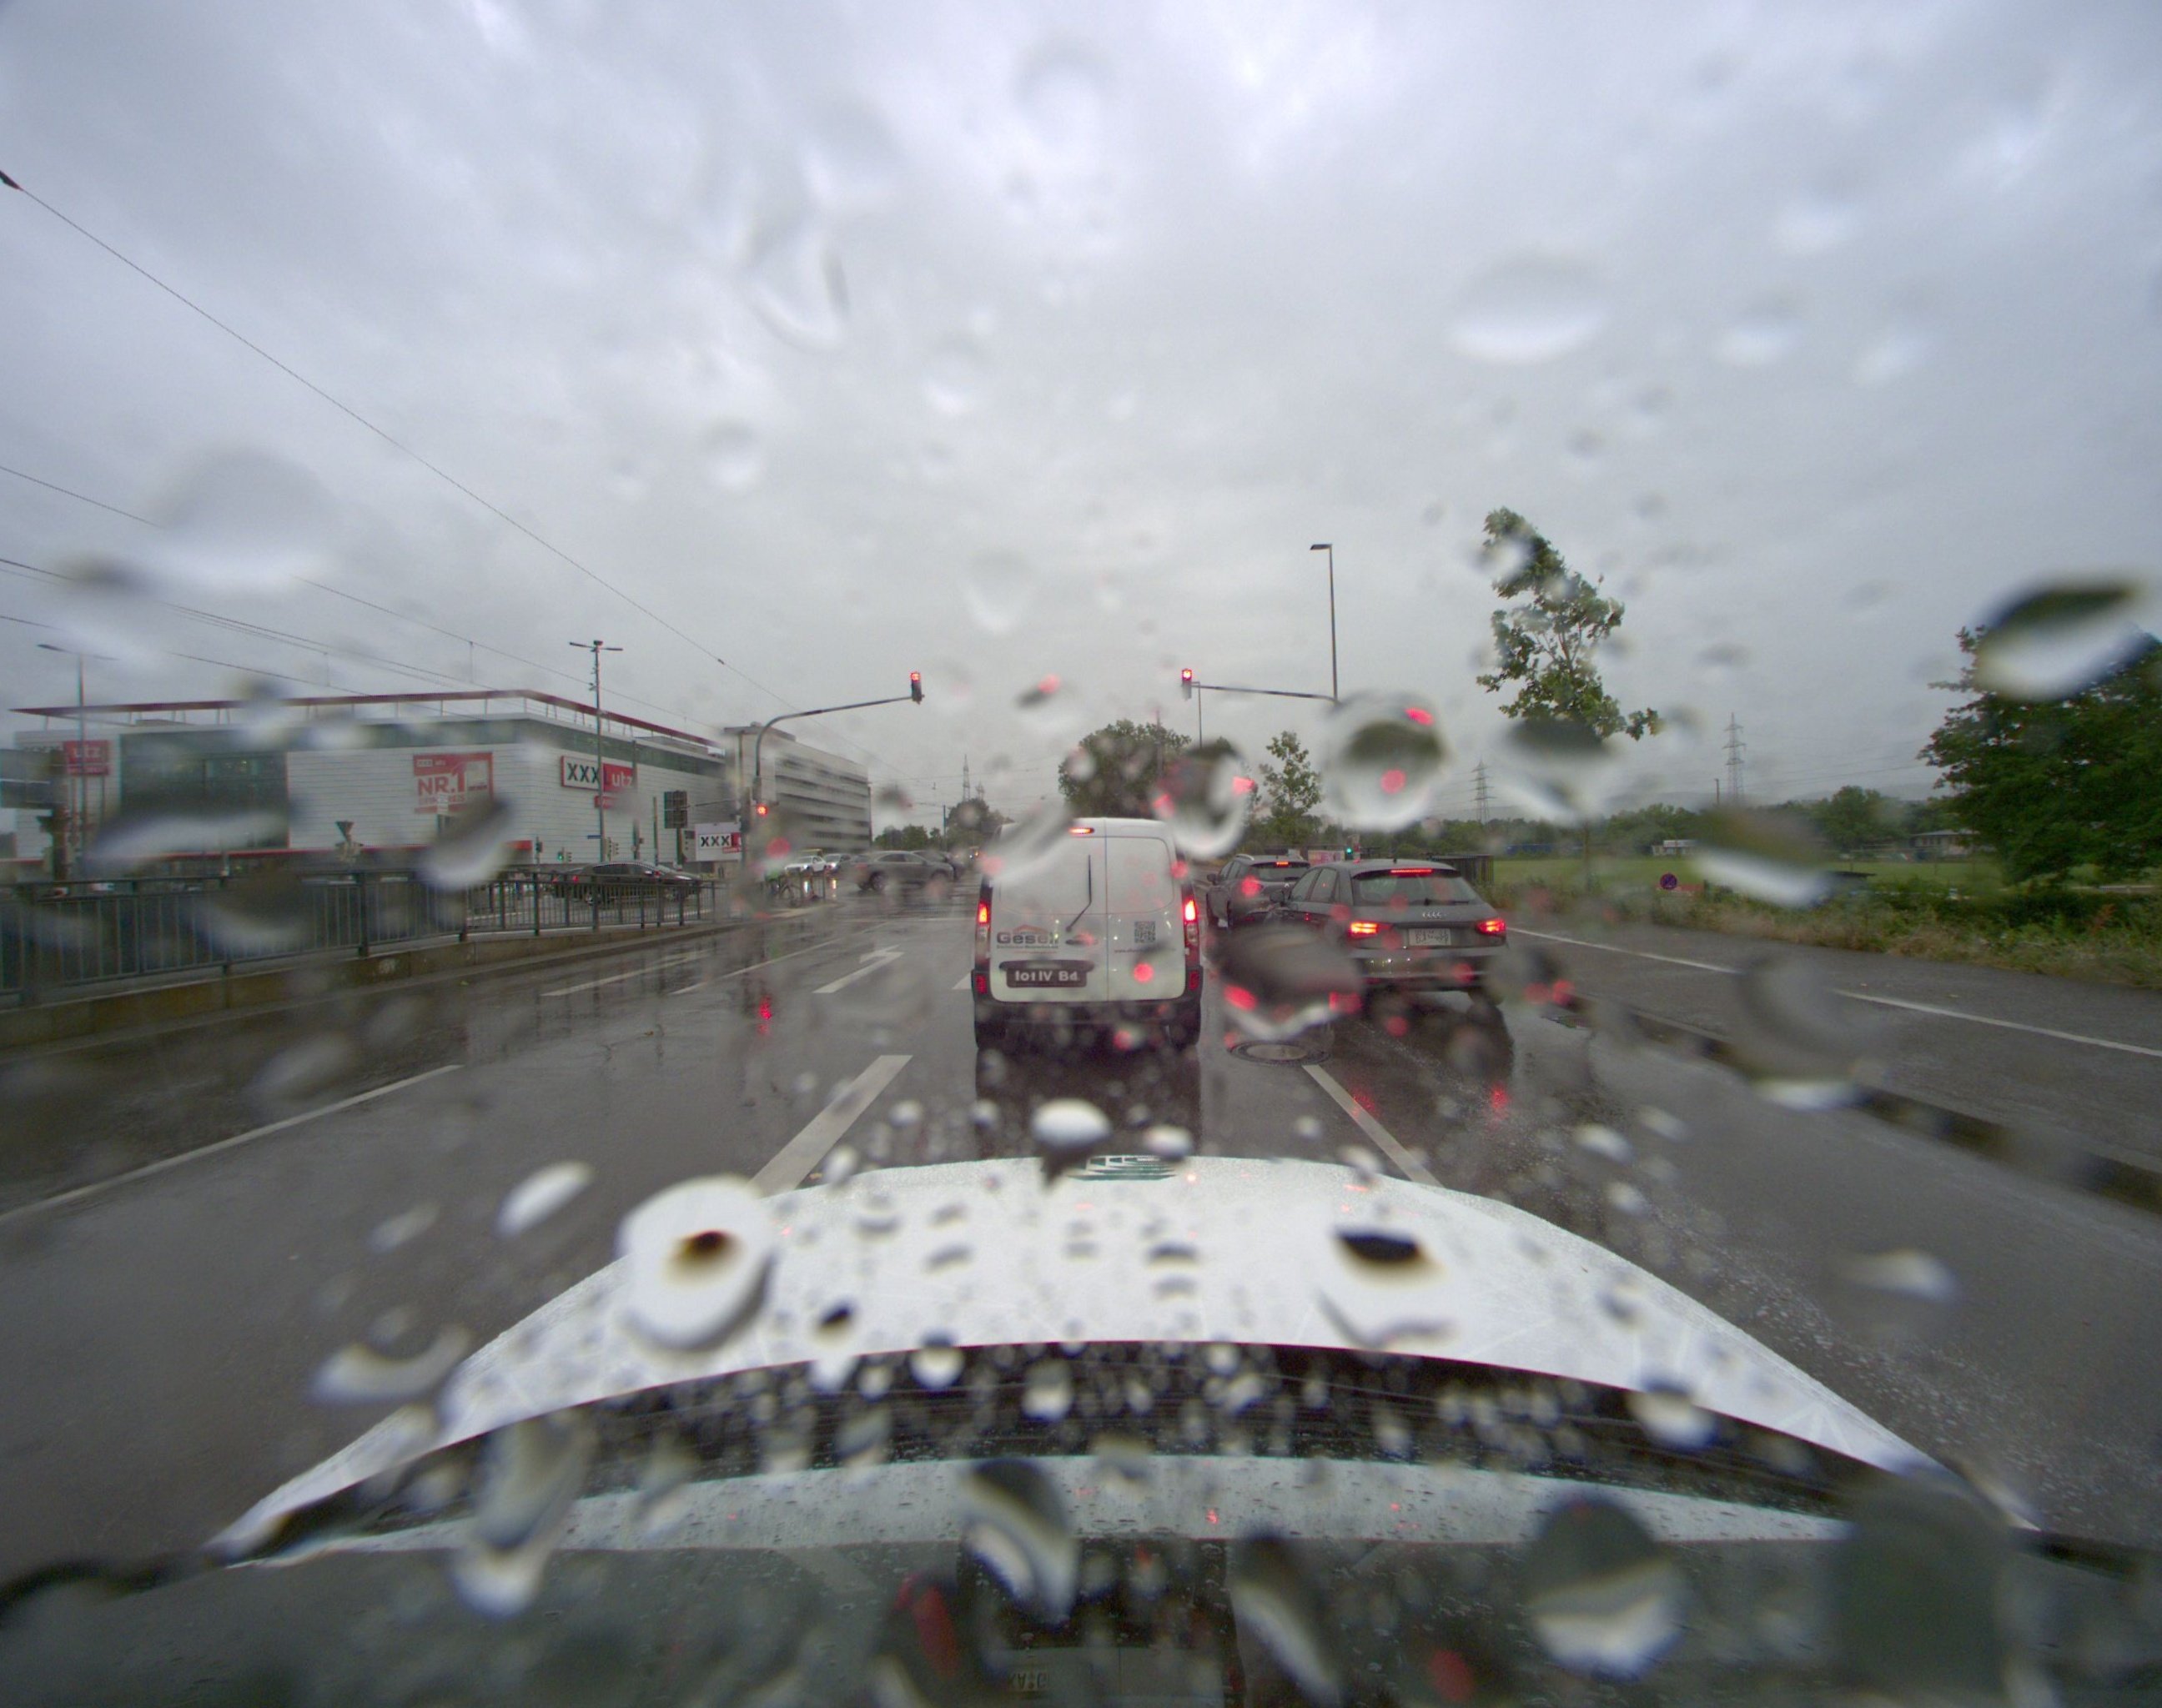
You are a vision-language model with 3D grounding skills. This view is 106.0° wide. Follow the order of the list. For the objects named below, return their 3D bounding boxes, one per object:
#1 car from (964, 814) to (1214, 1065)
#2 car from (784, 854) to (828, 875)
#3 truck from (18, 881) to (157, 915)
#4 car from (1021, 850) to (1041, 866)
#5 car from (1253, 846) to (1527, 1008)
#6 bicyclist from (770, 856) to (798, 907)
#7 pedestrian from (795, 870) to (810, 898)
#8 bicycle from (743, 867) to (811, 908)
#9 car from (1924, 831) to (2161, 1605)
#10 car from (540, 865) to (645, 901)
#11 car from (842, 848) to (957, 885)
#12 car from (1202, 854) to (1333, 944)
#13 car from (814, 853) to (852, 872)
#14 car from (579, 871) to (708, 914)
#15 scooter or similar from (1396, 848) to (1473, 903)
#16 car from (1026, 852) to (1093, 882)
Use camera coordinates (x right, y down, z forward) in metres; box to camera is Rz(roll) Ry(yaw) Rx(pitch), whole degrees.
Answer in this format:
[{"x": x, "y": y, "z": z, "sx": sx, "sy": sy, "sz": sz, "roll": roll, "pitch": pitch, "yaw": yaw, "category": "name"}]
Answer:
[{"x": 0.008, "y": 0.570, "z": 7.837, "sx": 1.749, "sy": 1.750, "sz": 4.166, "roll": -1, "pitch": 1, "yaw": -2, "category": "car"}, {"x": -19.446, "y": 0.748, "z": 57.808, "sx": 1.704, "sy": 1.426, "sz": 3.810, "roll": 1, "pitch": -1, "yaw": 2, "category": "car"}, {"x": -60.353, "y": 2.658, "z": 49.528, "sx": 5.859, "sy": 1.942, "sz": 2.012, "roll": 1, "pitch": -1, "yaw": 0, "category": "truck"}, {"x": -5.489, "y": 0.455, "z": 89.788, "sx": 1.942, "sy": 1.662, "sz": 4.461, "roll": 1, "pitch": -1, "yaw": -1, "category": "car"}, {"x": 3.094, "y": 0.679, "z": 8.970, "sx": 1.592, "sy": 1.366, "sz": 3.629, "roll": -2, "pitch": -1, "yaw": 0, "category": "car"}, {"x": -8.724, "y": 0.791, "z": 23.901, "sx": 0.608, "sy": 1.491, "sz": 0.593, "roll": 0, "pitch": -1, "yaw": -39, "category": "bicyclist"}, {"x": -8.842, "y": 0.949, "z": 25.871, "sx": 0.314, "sy": 0.897, "sz": 0.380, "roll": 1, "pitch": 0, "yaw": -1, "category": "pedestrian"}, {"x": -8.865, "y": 0.966, "z": 23.791, "sx": 1.768, "sy": 1.137, "sz": 0.514, "roll": 0, "pitch": -1, "yaw": -41, "category": "bicycle"}, {"x": 2.925, "y": 0.715, "z": 0.101, "sx": 1.696, "sy": 1.508, "sz": 3.880, "roll": 0, "pitch": 0, "yaw": 1, "category": "car"}, {"x": -20.790, "y": 1.237, "z": 34.760, "sx": 1.630, "sy": 1.398, "sz": 3.475, "roll": 2, "pitch": 0, "yaw": 40, "category": "car"}, {"x": -7.760, "y": 0.554, "z": 35.016, "sx": 4.526, "sy": 1.502, "sz": 1.696, "roll": 2, "pitch": -1, "yaw": -33, "category": "car"}, {"x": 3.396, "y": 0.755, "z": 15.542, "sx": 1.678, "sy": 1.508, "sz": 3.921, "roll": 0, "pitch": 0, "yaw": 1, "category": "car"}, {"x": -19.349, "y": 0.706, "z": 63.716, "sx": 1.704, "sy": 1.426, "sz": 3.810, "roll": 1, "pitch": -1, "yaw": 2, "category": "car"}, {"x": -16.259, "y": 1.433, "z": 30.461, "sx": 3.915, "sy": 1.398, "sz": 1.529, "roll": 2, "pitch": 0, "yaw": -13, "category": "car"}, {"x": 8.508, "y": 0.468, "z": 19.762, "sx": 0.687, "sy": 1.211, "sz": 3.022, "roll": -2, "pitch": 0, "yaw": 3, "category": "scooter or similar"}, {"x": -1.082, "y": 0.709, "z": 43.152, "sx": 1.799, "sy": 1.502, "sz": 4.297, "roll": 0, "pitch": -1, "yaw": 25, "category": "car"}]
